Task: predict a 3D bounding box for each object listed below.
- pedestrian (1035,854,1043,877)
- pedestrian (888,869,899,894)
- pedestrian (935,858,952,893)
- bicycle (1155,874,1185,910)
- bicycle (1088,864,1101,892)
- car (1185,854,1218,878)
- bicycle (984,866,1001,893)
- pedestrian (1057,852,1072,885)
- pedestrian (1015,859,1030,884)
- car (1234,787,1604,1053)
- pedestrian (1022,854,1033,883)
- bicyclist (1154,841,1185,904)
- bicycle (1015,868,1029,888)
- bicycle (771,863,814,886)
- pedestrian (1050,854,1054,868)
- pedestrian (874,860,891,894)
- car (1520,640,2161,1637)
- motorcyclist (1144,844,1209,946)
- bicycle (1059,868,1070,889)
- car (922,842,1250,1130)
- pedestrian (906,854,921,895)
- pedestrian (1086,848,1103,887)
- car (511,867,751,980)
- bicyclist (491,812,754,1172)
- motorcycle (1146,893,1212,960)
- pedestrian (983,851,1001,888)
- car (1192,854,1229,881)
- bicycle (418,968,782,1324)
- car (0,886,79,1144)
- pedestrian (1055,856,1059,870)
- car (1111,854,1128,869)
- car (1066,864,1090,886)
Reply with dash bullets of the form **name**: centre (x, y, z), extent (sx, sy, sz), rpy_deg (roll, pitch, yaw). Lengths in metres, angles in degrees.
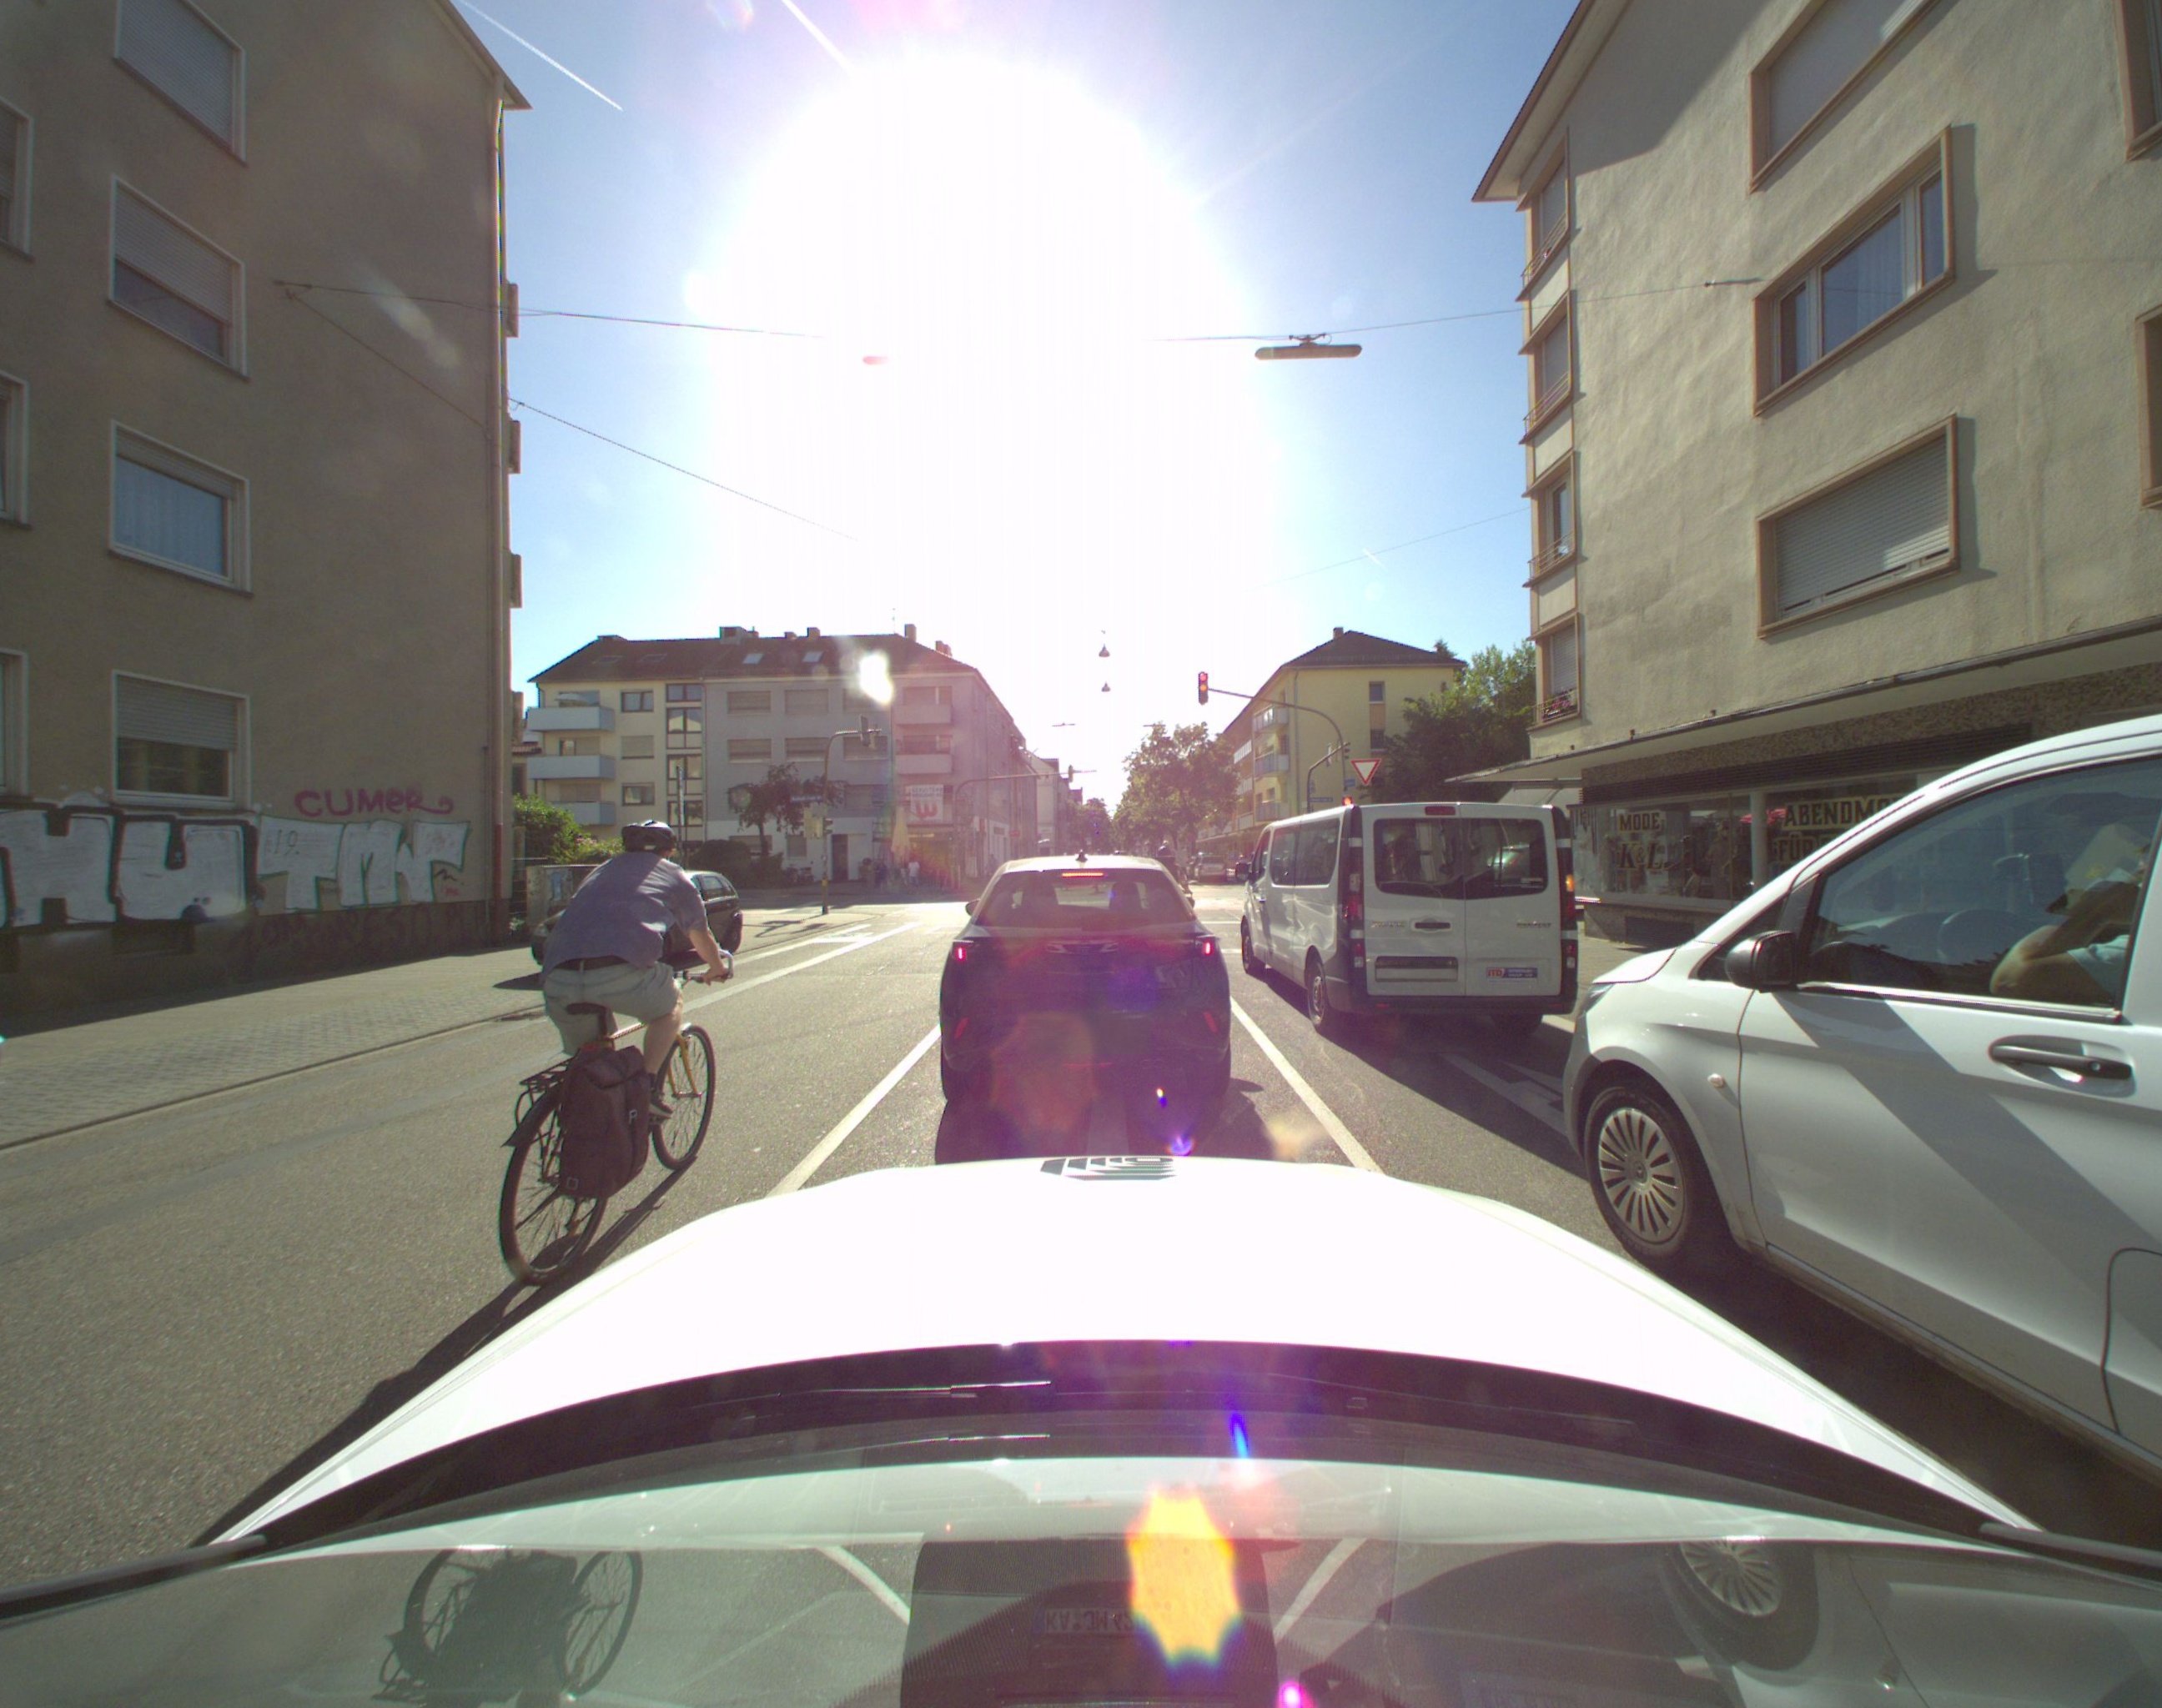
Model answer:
- **pedestrian**: centre (-3.134, 0.843, 60.520), extent (0.486, 1.690, 0.588), rpy_deg (-1, 0, 1)
- **pedestrian**: centre (-8.492, 1.239, 36.919), extent (0.354, 1.092, 0.461), rpy_deg (-1, 0, -1)
- **pedestrian**: centre (-6.043, 0.928, 35.755), extent (0.615, 1.521, 0.724), rpy_deg (-1, 0, -1)
- **bicycle**: centre (2.471, 1.046, 22.860), extent (0.575, 0.904, 2.301), rpy_deg (-1, 0, 0)
- **bicycle**: centre (0.598, 1.029, 35.705), extent (0.520, 1.147, 2.170), rpy_deg (-1, 0, 0)
- **car**: centre (7.644, 0.766, 51.901), extent (1.628, 1.433, 4.002), rpy_deg (-1, 0, 2)
- **bicycle**: centre (-4.106, 1.166, 37.854), extent (0.520, 1.147, 2.283), rpy_deg (-1, 0, 0)
- **pedestrian**: centre (-0.804, 0.715, 40.439), extent (0.678, 1.606, 0.762), rpy_deg (-1, 0, 0)
- **pedestrian**: centre (-3.031, 0.901, 41.998), extent (0.704, 1.253, 0.802), rpy_deg (-1, 0, 0)
- **car**: centre (3.011, 0.496, 8.596), extent (1.986, 1.979, 4.897), rpy_deg (1, 0, 2)
- **pedestrian**: centre (-3.165, 0.847, 47.981), extent (0.568, 1.690, 0.588), rpy_deg (-1, 0, 1)
- **bicyclist**: centre (2.473, 0.508, 22.851), extent (0.687, 1.712, 1.414), rpy_deg (-1, 0, 0)
- **bicycle**: centre (-3.028, 1.224, 41.955), extent (0.520, 0.992, 2.339), rpy_deg (-1, 0, 0)
- **bicycle**: centre (-15.370, 1.072, 43.407), extent (2.103, 1.172, 0.735), rpy_deg (-1, 0, -22)
- **pedestrian**: centre (-3.492, 0.854, 97.911), extent (0.400, 1.675, 0.418), rpy_deg (-1, 0, 1)
- **pedestrian**: centre (-8.990, 1.019, 36.839), extent (0.582, 1.521, 0.649), rpy_deg (-1, 0, -1)
- **car**: centre (2.927, 0.519, 1.220), extent (1.830, 1.869, 4.996), rpy_deg (-1, 0, 0)
- **motorcyclist**: centre (1.465, 0.606, 12.669), extent (0.861, 1.502, 1.160), rpy_deg (-1, 0, 1)
- **bicycle**: centre (-0.815, 1.218, 40.531), extent (0.442, 0.992, 2.068), rpy_deg (-1, 0, 0)
- **car**: centre (0.034, 0.721, 6.452), extent (1.765, 1.530, 3.999), rpy_deg (-1, 0, 0)
- **pedestrian**: centre (-7.342, 0.899, 35.753), extent (0.560, 1.775, 0.582), rpy_deg (-1, 0, -7)
- **pedestrian**: centre (0.601, 0.581, 35.600), extent (0.704, 1.701, 0.802), rpy_deg (-1, 0, 0)
- **car**: centre (-6.801, 0.959, 12.809), extent (1.610, 1.425, 3.711), rpy_deg (1, 0, 1)
- **bicyclist**: centre (-1.941, 0.514, 3.601), extent (0.607, 1.346, 1.017), rpy_deg (-1, 1, -4)
- **motorcycle**: centre (1.463, 1.076, 12.463), extent (0.822, 0.845, 1.885), rpy_deg (-1, 0, 1)
- **pedestrian**: centre (-4.093, 0.700, 37.536), extent (0.704, 1.678, 0.802), rpy_deg (-1, 0, 0)
- **car**: centre (7.479, 0.752, 47.222), extent (1.628, 1.433, 3.958), rpy_deg (-1, 0, 2)
- **bicycle**: centre (-1.927, 1.095, 3.614), extent (0.609, 0.881, 1.812), rpy_deg (-1, 1, -4)
- **car**: centre (-7.121, 0.924, 2.628), extent (1.711, 1.465, 4.817), rpy_deg (1, 0, 2)
- **pedestrian**: centre (-2.862, 1.098, 97.633), extent (0.400, 1.675, 0.418), rpy_deg (-1, 0, 1)
- **car**: centre (4.721, 0.888, 98.623), extent (1.894, 1.728, 4.077), rpy_deg (-1, 0, 4)
- **car**: centre (-0.204, 1.752, 70.014), extent (1.817, 1.728, 4.004), rpy_deg (-1, 0, 3)
